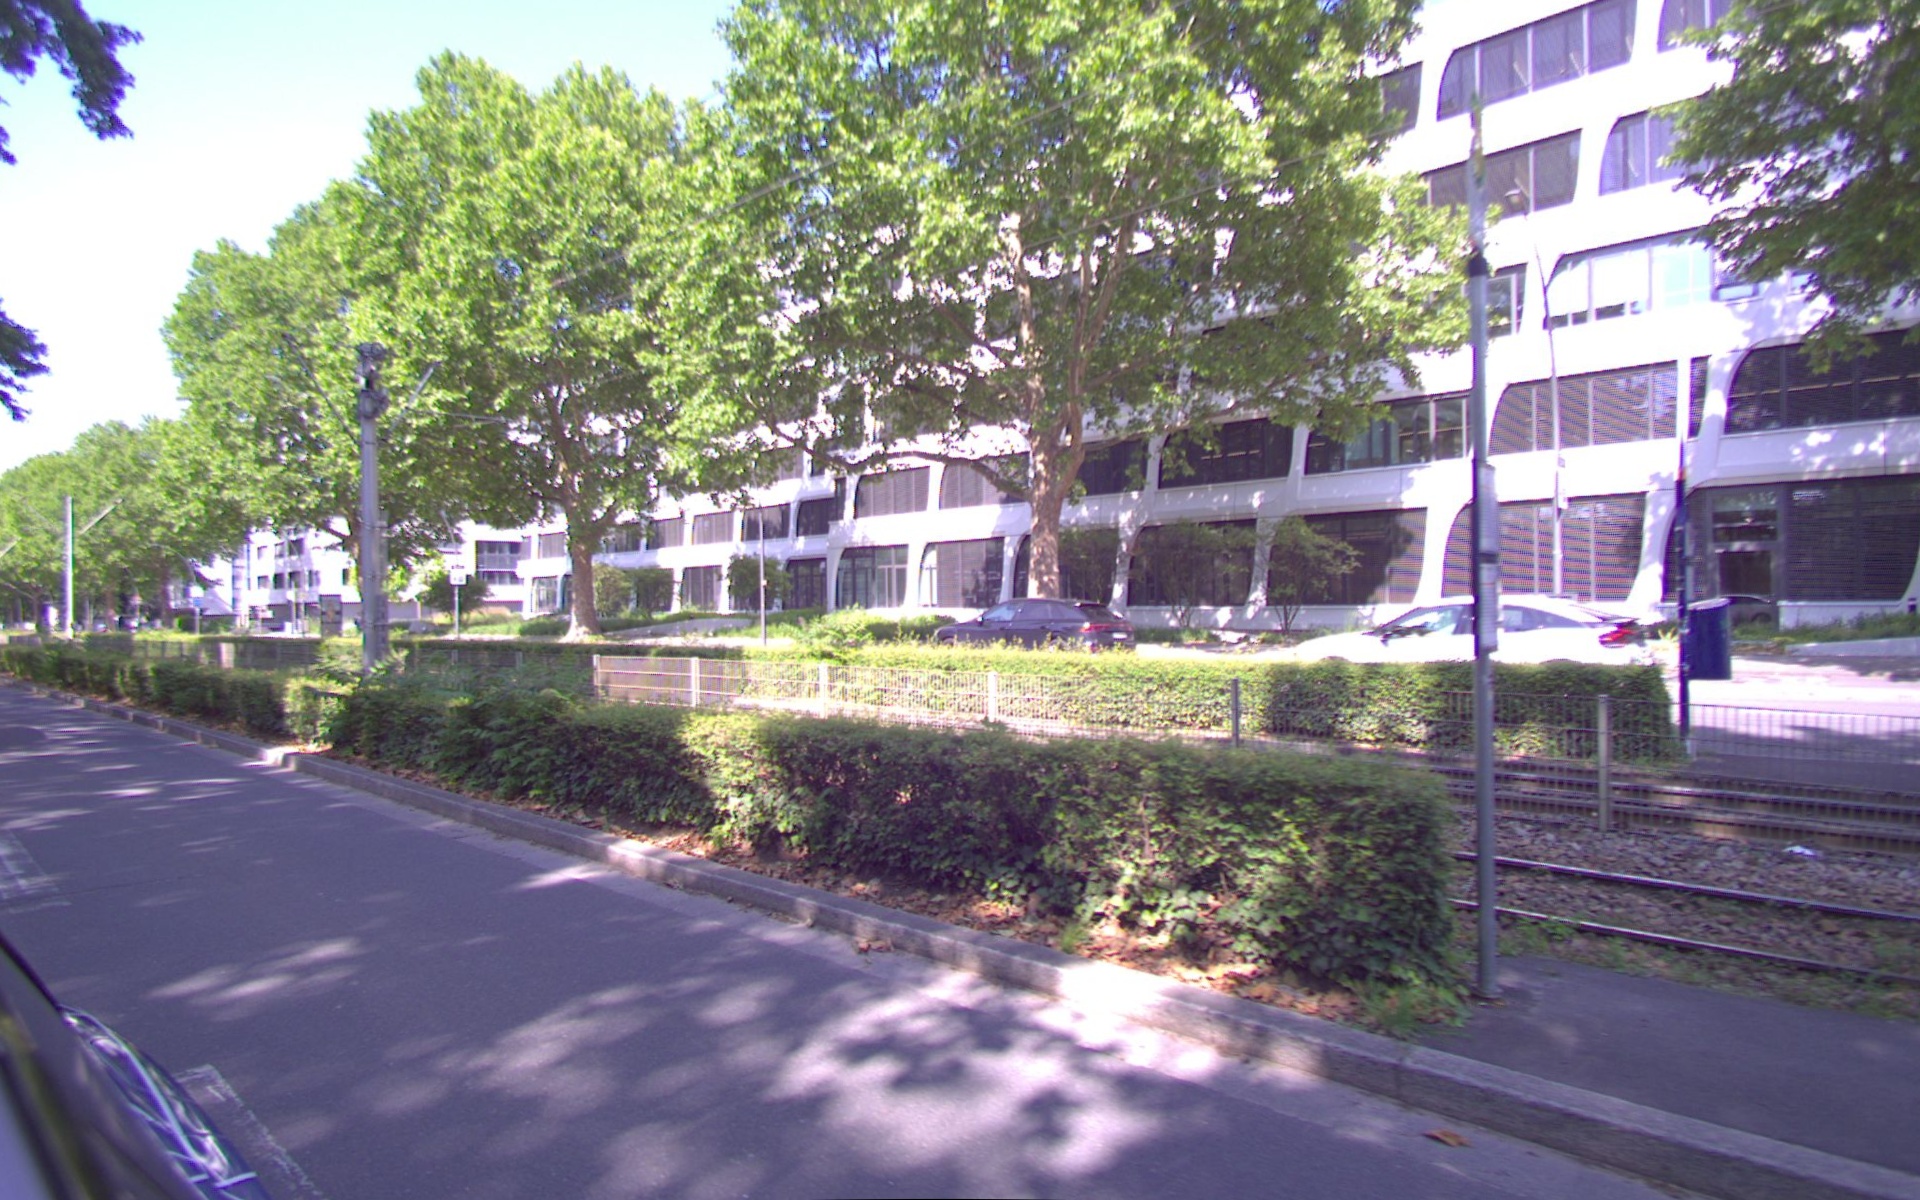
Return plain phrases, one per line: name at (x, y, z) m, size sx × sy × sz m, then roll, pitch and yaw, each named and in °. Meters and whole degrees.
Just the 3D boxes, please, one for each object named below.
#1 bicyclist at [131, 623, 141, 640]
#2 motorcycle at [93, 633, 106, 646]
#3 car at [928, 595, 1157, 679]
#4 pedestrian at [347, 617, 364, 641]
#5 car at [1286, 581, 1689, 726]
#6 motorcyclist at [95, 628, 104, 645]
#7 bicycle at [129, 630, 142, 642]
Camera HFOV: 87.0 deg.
bicyclist at (-79.619, 3.050, 97.757) m, size 0.641 × 1.546 × 0.647 m, roll -2°, pitch -1°, yaw 42°
motorcycle at (-77.724, 3.566, 91.412) m, size 1.999 × 1.184 × 0.625 m, roll -2°, pitch -1°, yaw 42°
car at (1.692, 0.778, 22.165) m, size 4.894 × 1.636 × 1.811 m, roll -2°, pitch 0°, yaw 42°
pedestrian at (-41.681, 2.021, 69.806) m, size 1.014 × 1.600 × 0.712 m, roll -2°, pitch 0°, yaw 42°
car at (6.686, 0.621, 13.120) m, size 4.303 × 1.575 × 1.791 m, roll -2°, pitch 0°, yaw 42°
motorcyclist at (-77.784, 3.291, 91.459) m, size 0.533 × 1.468 × 0.574 m, roll -2°, pitch -1°, yaw 42°
bicycle at (-79.620, 3.454, 97.772) m, size 2.030 × 1.132 × 0.657 m, roll -2°, pitch 0°, yaw 42°
